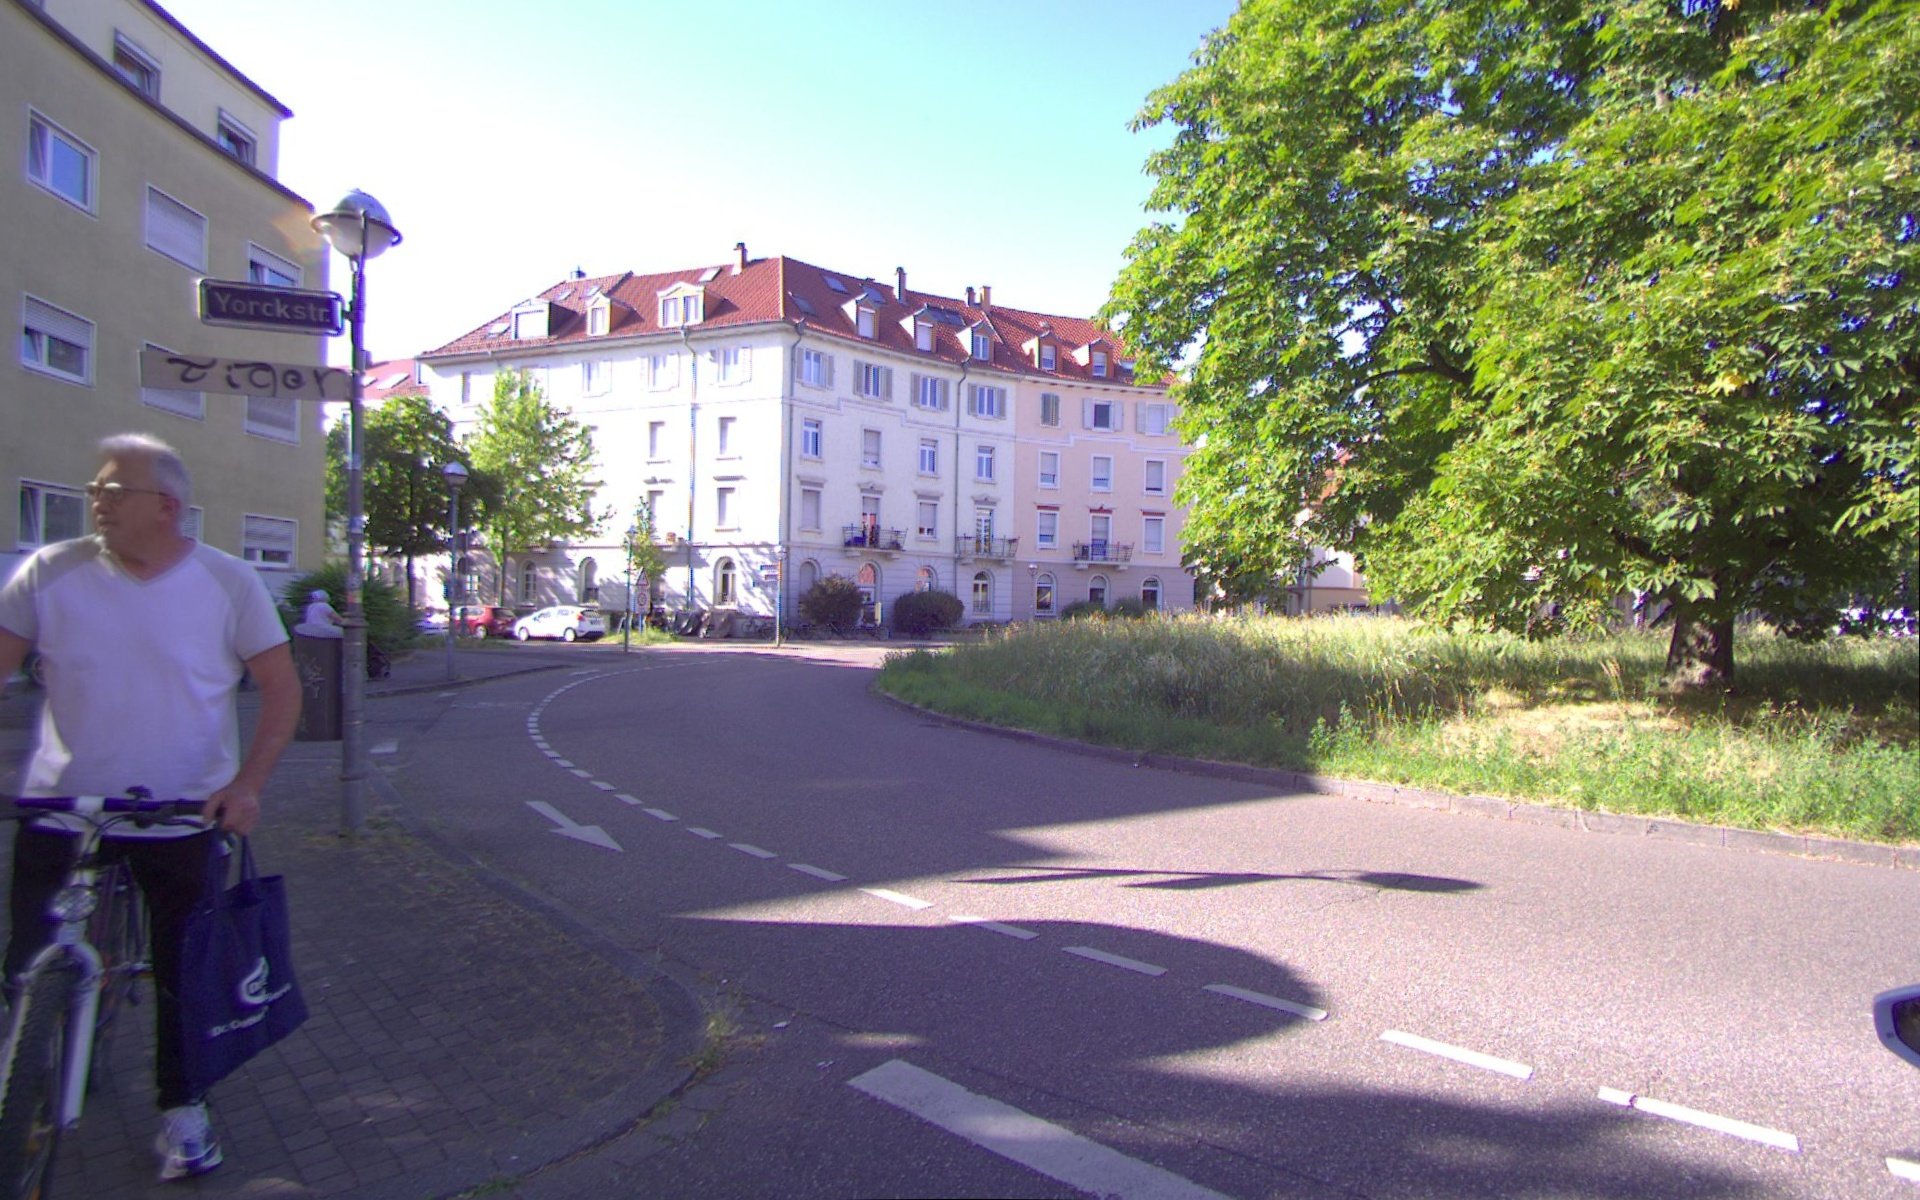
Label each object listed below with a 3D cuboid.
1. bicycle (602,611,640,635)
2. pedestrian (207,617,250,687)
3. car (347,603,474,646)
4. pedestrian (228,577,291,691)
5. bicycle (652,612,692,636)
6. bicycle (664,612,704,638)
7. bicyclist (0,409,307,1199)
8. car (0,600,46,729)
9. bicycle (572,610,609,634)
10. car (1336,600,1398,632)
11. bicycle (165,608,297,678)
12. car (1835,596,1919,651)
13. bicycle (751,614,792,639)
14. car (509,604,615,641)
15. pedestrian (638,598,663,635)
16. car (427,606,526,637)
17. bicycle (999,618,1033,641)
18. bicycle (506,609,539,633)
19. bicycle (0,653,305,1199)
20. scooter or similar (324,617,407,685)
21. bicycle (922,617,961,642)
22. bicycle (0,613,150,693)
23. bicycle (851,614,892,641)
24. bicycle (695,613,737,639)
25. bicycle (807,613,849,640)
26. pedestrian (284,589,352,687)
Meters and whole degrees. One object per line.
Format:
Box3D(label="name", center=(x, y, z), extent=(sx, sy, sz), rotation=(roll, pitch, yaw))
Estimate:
Box3D(label="bicycle", center=(-16.474, 1.118, 48.776), extent=(1.764, 1.139, 0.571), rotation=(1, 0, 19))
Box3D(label="pedestrian", center=(-11.540, 0.813, 15.849), extent=(0.369, 1.053, 0.406), rotation=(5, 2, 31))
Box3D(label="car", center=(-19.576, 0.835, 35.824), extent=(3.920, 1.430, 1.804), rotation=(1, 0, 18))
Box3D(label="pedestrian", center=(-10.980, 0.524, 15.749), extent=(0.544, 1.716, 0.608), rotation=(5, 2, 31))
Box3D(label="bicycle", center=(-13.622, 1.132, 47.532), extent=(1.764, 1.139, 0.571), rotation=(1, 0, 19))
Box3D(label="bicycle", center=(-12.717, 1.157, 46.310), extent=(1.764, 1.139, 0.571), rotation=(1, 0, 19))
Box3D(label="bicyclist", center=(-2.014, 0.486, 2.367), extent=(0.757, 1.718, 0.805), rotation=(1, 0, -33))
Box3D(label="car", center=(-12.693, 0.678, 10.548), extent=(4.452, 1.430, 1.713), rotation=(2, -1, -40))
Box3D(label="bicycle", center=(-18.198, 1.085, 49.480), extent=(1.764, 1.157, 0.571), rotation=(1, 0, 19))
Box3D(label="car", center=(25.784, 0.996, 63.842), extent=(2.099, 1.934, 4.562), rotation=(1, -1, 0))
Box3D(label="bicycle", center=(-12.420, 0.708, 17.168), extent=(0.491, 1.122, 1.798), rotation=(1, -1, 26))
Box3D(label="car", center=(47.248, 1.169, 49.897), extent=(2.062, 2.635, 6.377), rotation=(2, 0, 1))
Box3D(label="bicycle", center=(-8.465, 1.199, 45.191), extent=(1.771, 1.122, 0.498), rotation=(1, 0, -17))
Box3D(label="car", center=(-16.529, 0.931, 41.755), extent=(3.922, 1.431, 1.800), rotation=(1, -1, 22))
Box3D(label="pedestrian", center=(-14.143, 0.749, 45.871), extent=(0.731, 1.683, 0.774), rotation=(1, -1, 18))
Box3D(label="car", center=(-20.799, 0.919, 43.249), extent=(3.646, 1.272, 1.800), rotation=(1, -1, 20))
Box3D(label="bicycle", center=(2.797, 1.496, 50.154), extent=(1.664, 1.103, 0.499), rotation=(1, 1, -26))
Box3D(label="bicycle", center=(-22.322, 1.061, 51.243), extent=(1.766, 1.157, 0.570), rotation=(1, 0, 26))
Box3D(label="bicycle", center=(-2.180, 0.793, 2.607), extent=(0.757, 1.214, 1.853), rotation=(1, 0, -33))
Box3D(label="scooter or similar", center=(-10.226, 0.856, 17.285), extent=(0.901, 1.037, 0.897), rotation=(5, 2, 31))
Box3D(label="bicycle", center=(-0.906, 1.431, 48.471), extent=(1.773, 1.139, 0.568), rotation=(3, -1, -20))
Box3D(label="bicycle", center=(-13.313, 0.772, 15.030), extent=(0.493, 1.122, 1.791), rotation=(1, -1, 40))
Box3D(label="bicycle", center=(-4.084, 1.281, 46.350), extent=(1.781, 1.139, 0.565), rotation=(4, -1, -33))
Box3D(label="bicycle", center=(-11.012, 1.179, 45.323), extent=(1.764, 1.139, 0.571), rotation=(1, 0, 19))
Box3D(label="bicycle", center=(-5.979, 1.198, 45.437), extent=(1.773, 1.139, 0.568), rotation=(3, -1, -20))
Box3D(label="pedestrian", center=(-10.573, 0.610, 16.549), extent=(0.639, 1.544, 0.696), rotation=(5, 2, 31))
